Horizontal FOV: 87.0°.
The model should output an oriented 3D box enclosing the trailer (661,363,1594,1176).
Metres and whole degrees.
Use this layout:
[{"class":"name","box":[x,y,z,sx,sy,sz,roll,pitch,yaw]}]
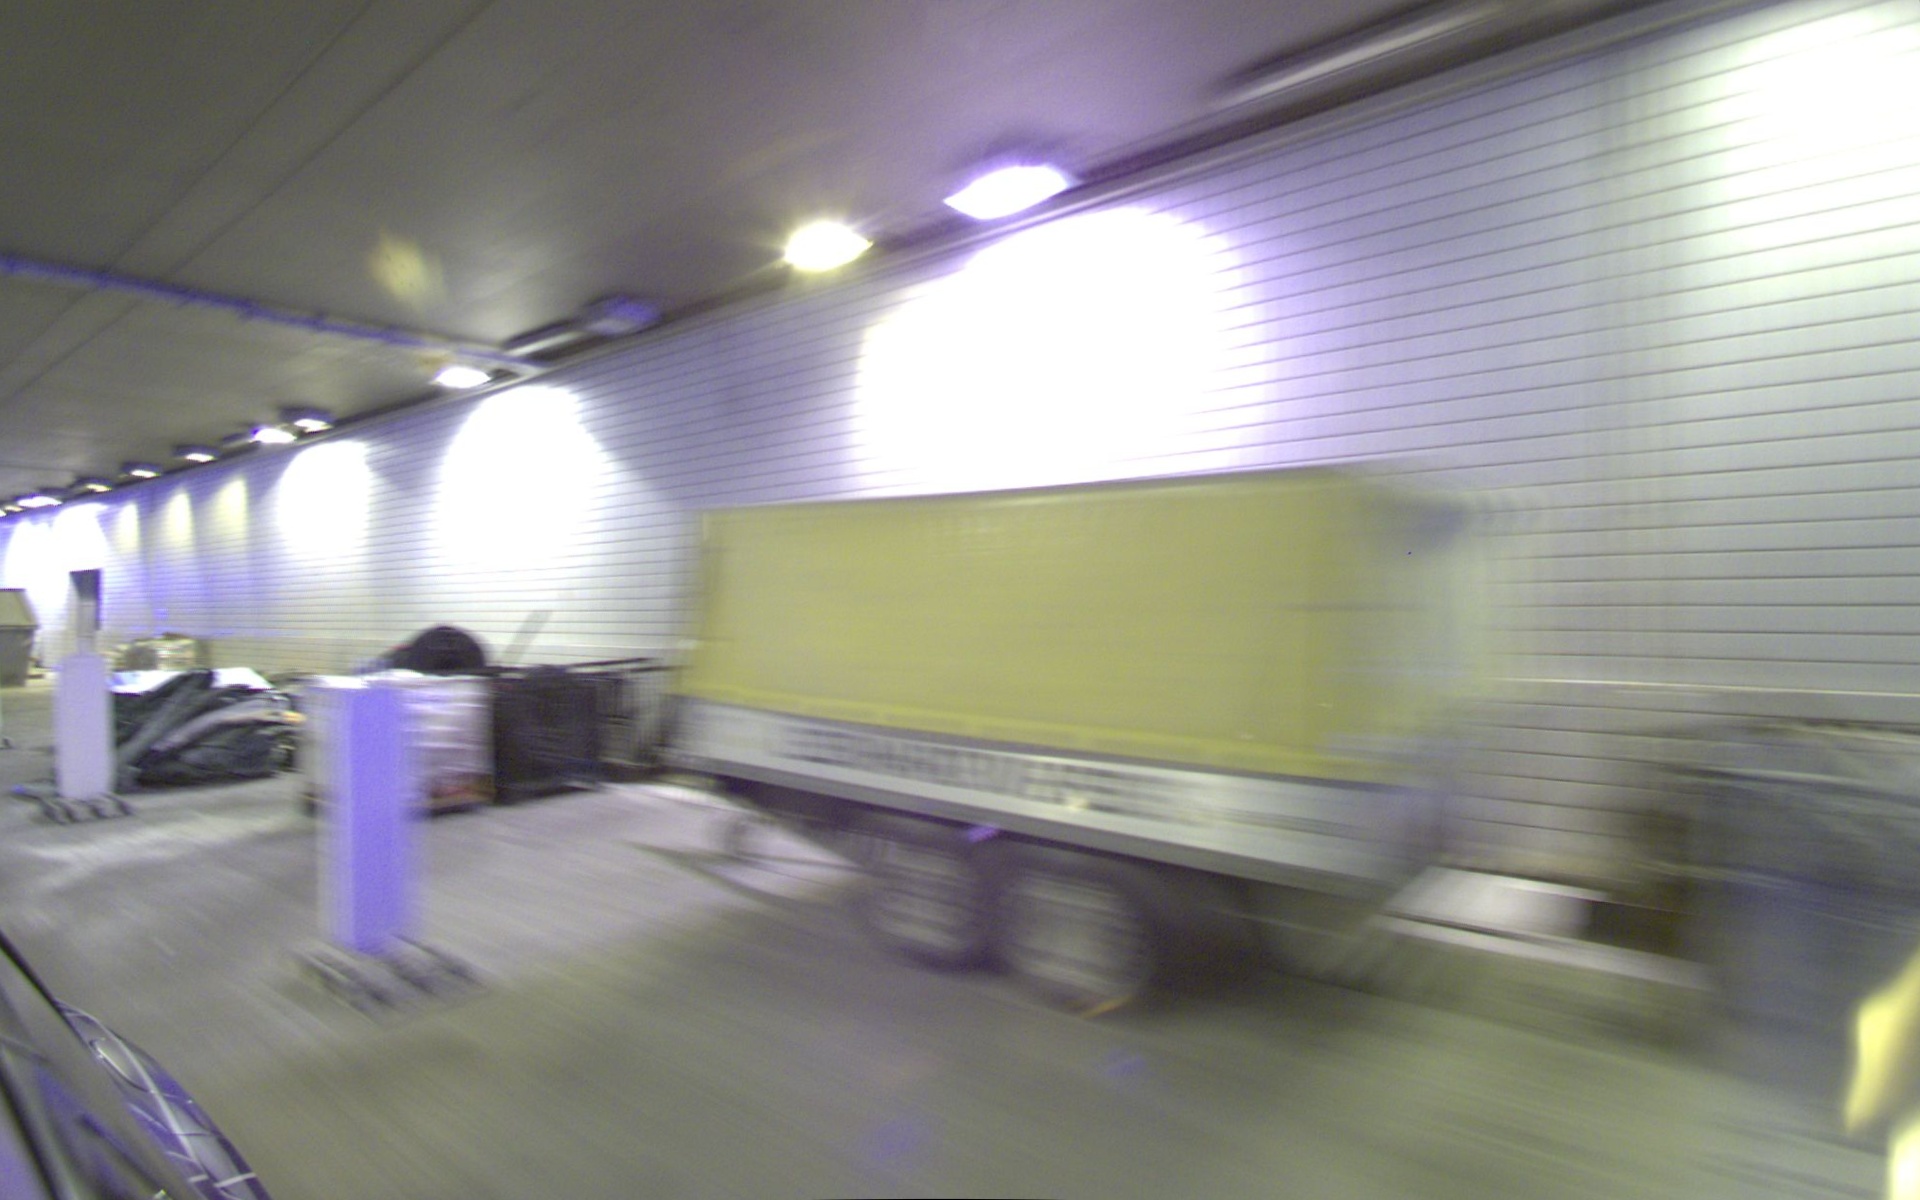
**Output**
[{"class":"trailer","box":[0.649,0.430,4.466,3.461,2.029,2.187,0,-1,38]}]
